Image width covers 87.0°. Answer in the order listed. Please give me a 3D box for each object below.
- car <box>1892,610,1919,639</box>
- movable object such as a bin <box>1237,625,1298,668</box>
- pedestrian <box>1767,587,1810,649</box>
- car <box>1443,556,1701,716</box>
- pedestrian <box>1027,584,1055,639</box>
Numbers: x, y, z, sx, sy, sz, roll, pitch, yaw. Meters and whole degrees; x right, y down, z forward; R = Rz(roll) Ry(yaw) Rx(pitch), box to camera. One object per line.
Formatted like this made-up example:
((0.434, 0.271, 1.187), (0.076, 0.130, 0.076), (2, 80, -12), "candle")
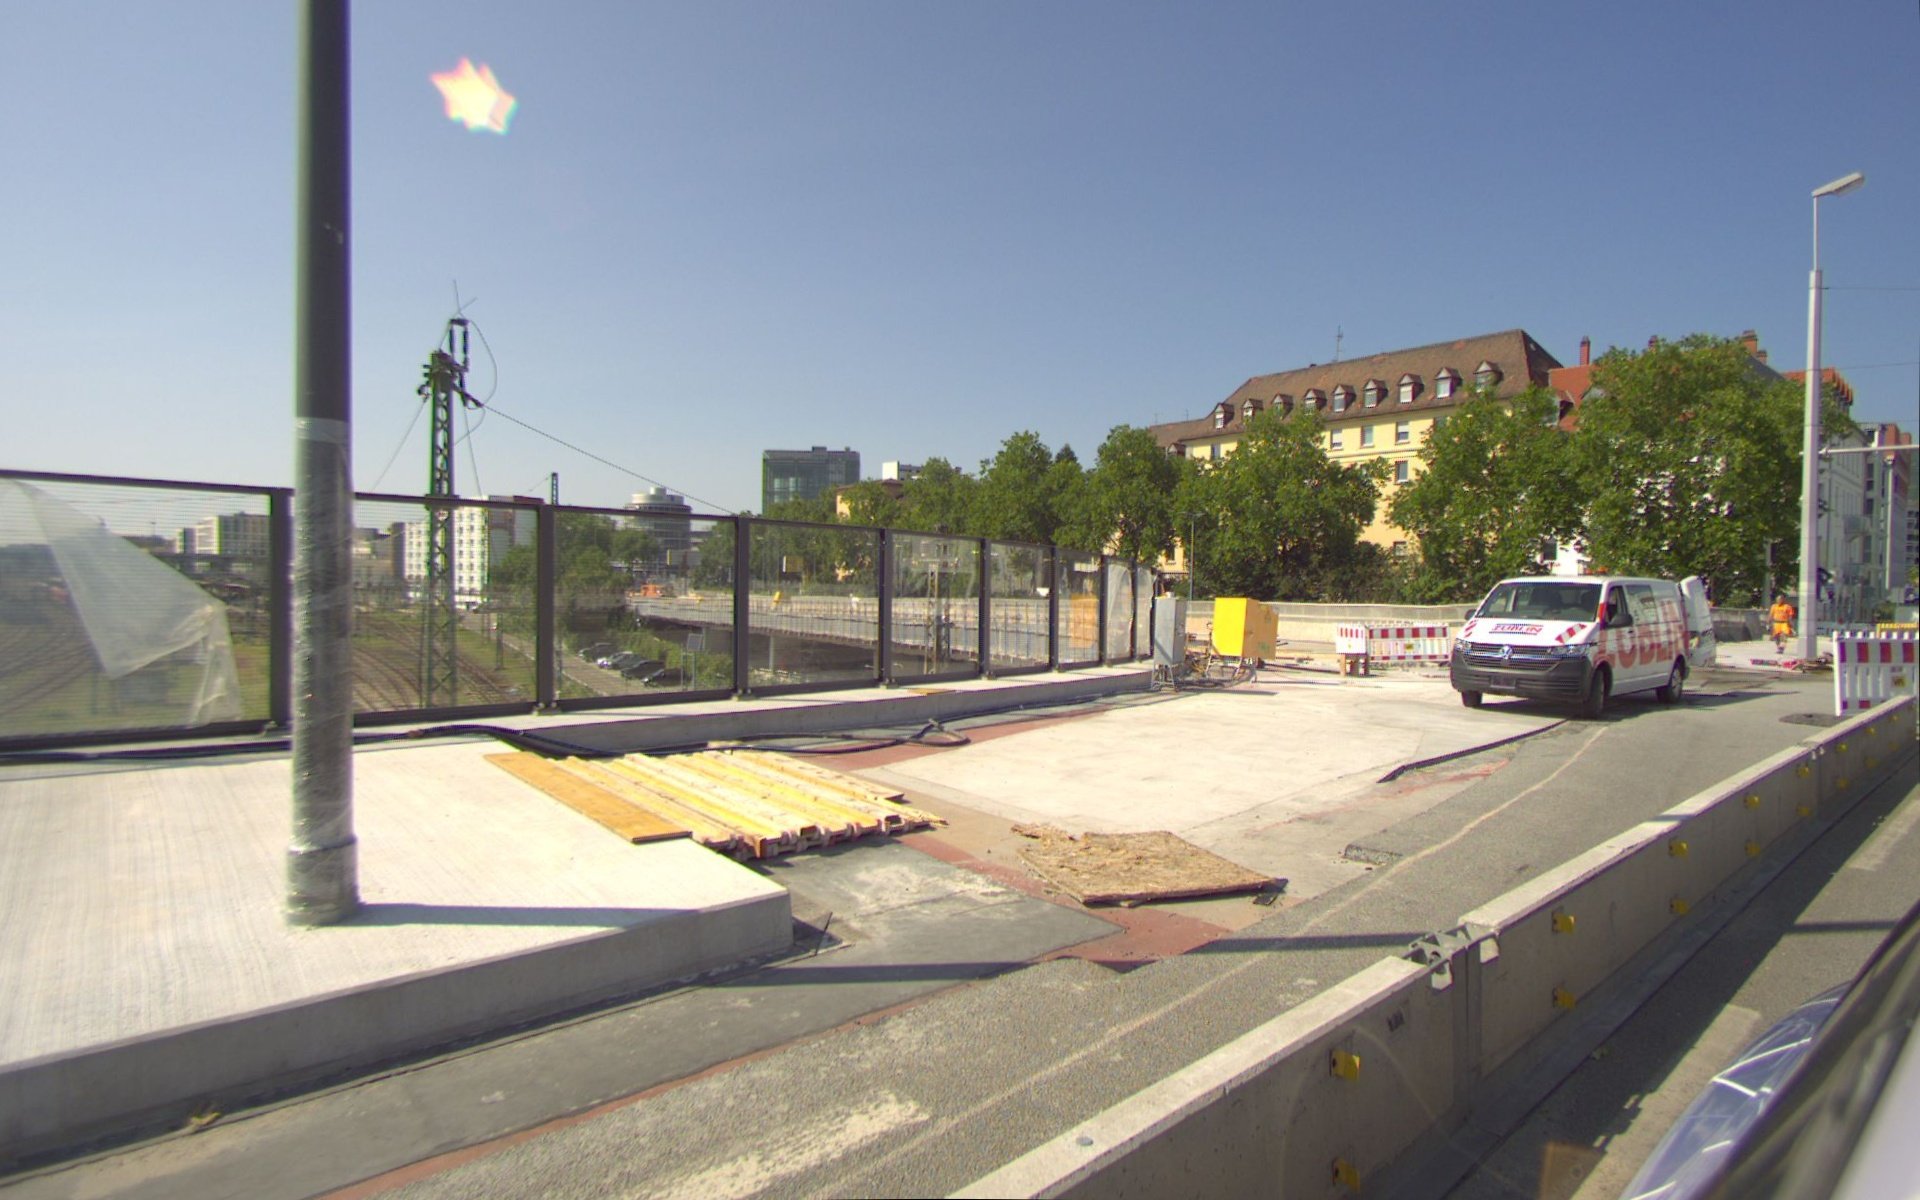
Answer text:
((51.074, 1.393, 51.797), (1.609, 1.455, 4.652), (1, 2, -28), "car")
((6.997, 1.043, 23.070), (1.083, 0.853, 0.757), (4, 0, -1), "movable object such as a bin")
((25.393, 0.547, 31.026), (0.849, 1.817, 0.821), (1, 2, -42), "pedestrian")
((9.360, 0.461, 15.305), (4.803, 2.059, 1.882), (0, 0, -40), "car")
((3.548, 0.510, 44.385), (0.867, 2.363, 0.792), (-4, -3, 24), "pedestrian")
